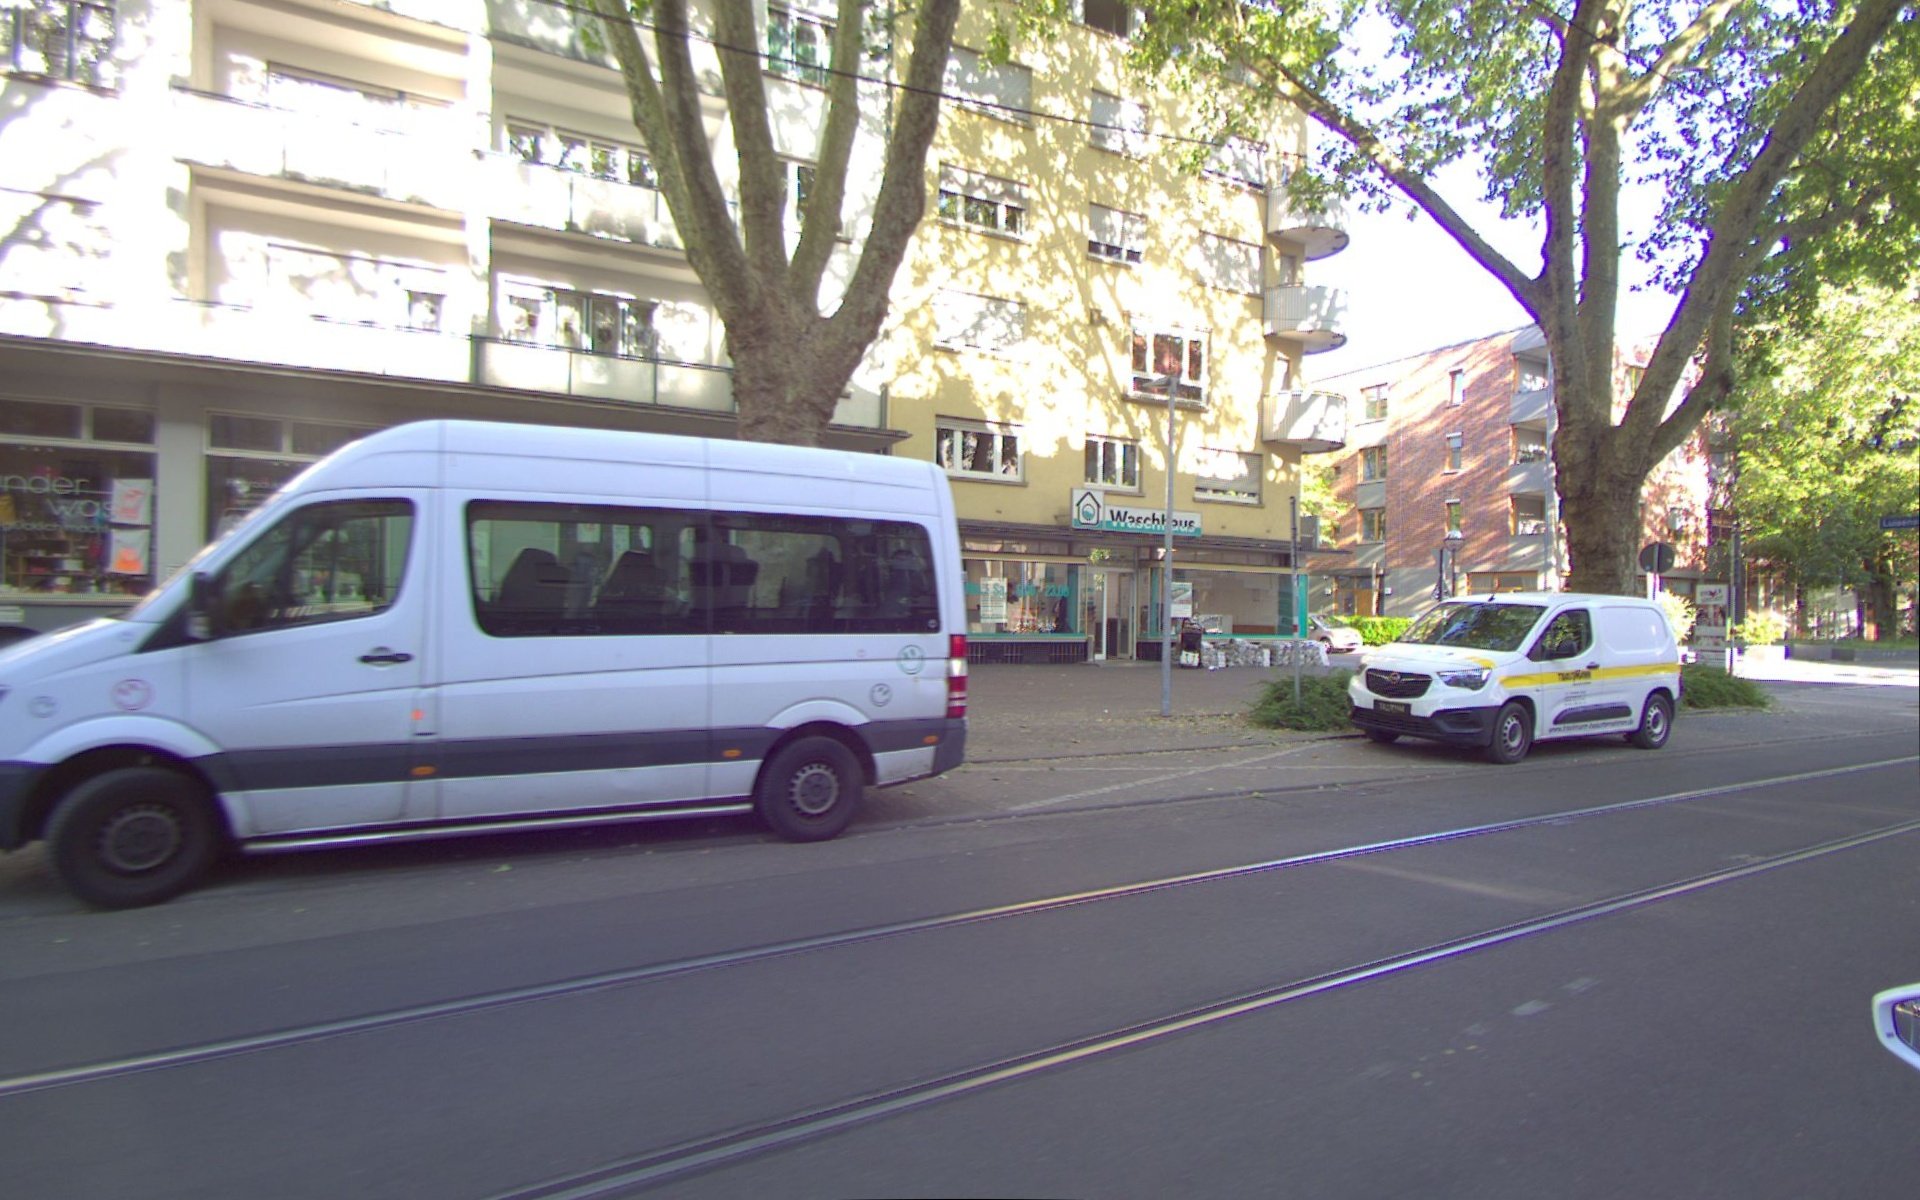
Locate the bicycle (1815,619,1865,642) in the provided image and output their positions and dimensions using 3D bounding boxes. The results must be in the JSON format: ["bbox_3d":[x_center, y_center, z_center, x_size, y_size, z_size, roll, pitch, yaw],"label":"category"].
[{"bbox_3d":[46.718,1.608,53.352,0.760,1.087,1.921,1,1,-43],"label":"bicycle"}]

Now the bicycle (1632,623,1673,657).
[{"bbox_3d":[23.996,1.364,34.802,1.518,1.099,0.539,-1,2,-29],"label":"bicycle"}]

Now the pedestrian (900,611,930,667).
[{"bbox_3d":[-0.923,0.796,20.700,0.434,1.120,0.417,1,1,-37],"label":"pedestrian"}]

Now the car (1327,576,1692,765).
[{"bbox_3d":[6.497,0.739,11.781,4.267,1.875,1.755,2,0,-30],"label":"car"}]

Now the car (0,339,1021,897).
[{"bbox_3d":[-2.723,0.142,6.739,5.944,2.612,2.101,2,0,-26],"label":"car"}]

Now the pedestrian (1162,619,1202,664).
[{"bbox_3d":[5.390,1.006,24.407,0.702,1.061,0.576,2,1,-29],"label":"pedestrian"}]

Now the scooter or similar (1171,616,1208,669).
[{"bbox_3d":[5.339,0.990,23.384,0.662,1.183,0.644,2,1,-1],"label":"scooter or similar"}]

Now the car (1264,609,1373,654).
[{"bbox_3d":[14.776,1.275,41.591,1.936,1.684,3.971,2,0,-28],"label":"car"}]

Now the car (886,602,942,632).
[{"bbox_3d":[-2.928,1.059,63.118,1.975,1.706,3.970,2,0,-28],"label":"car"}]

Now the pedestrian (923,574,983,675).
[{"bbox_3d":[-0.140,0.459,19.208,0.853,1.894,0.741,2,1,-30],"label":"pedestrian"}]

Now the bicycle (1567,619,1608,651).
[{"bbox_3d":[23.081,1.282,36.932,1.618,1.099,0.539,-1,2,-29],"label":"bicycle"}]
